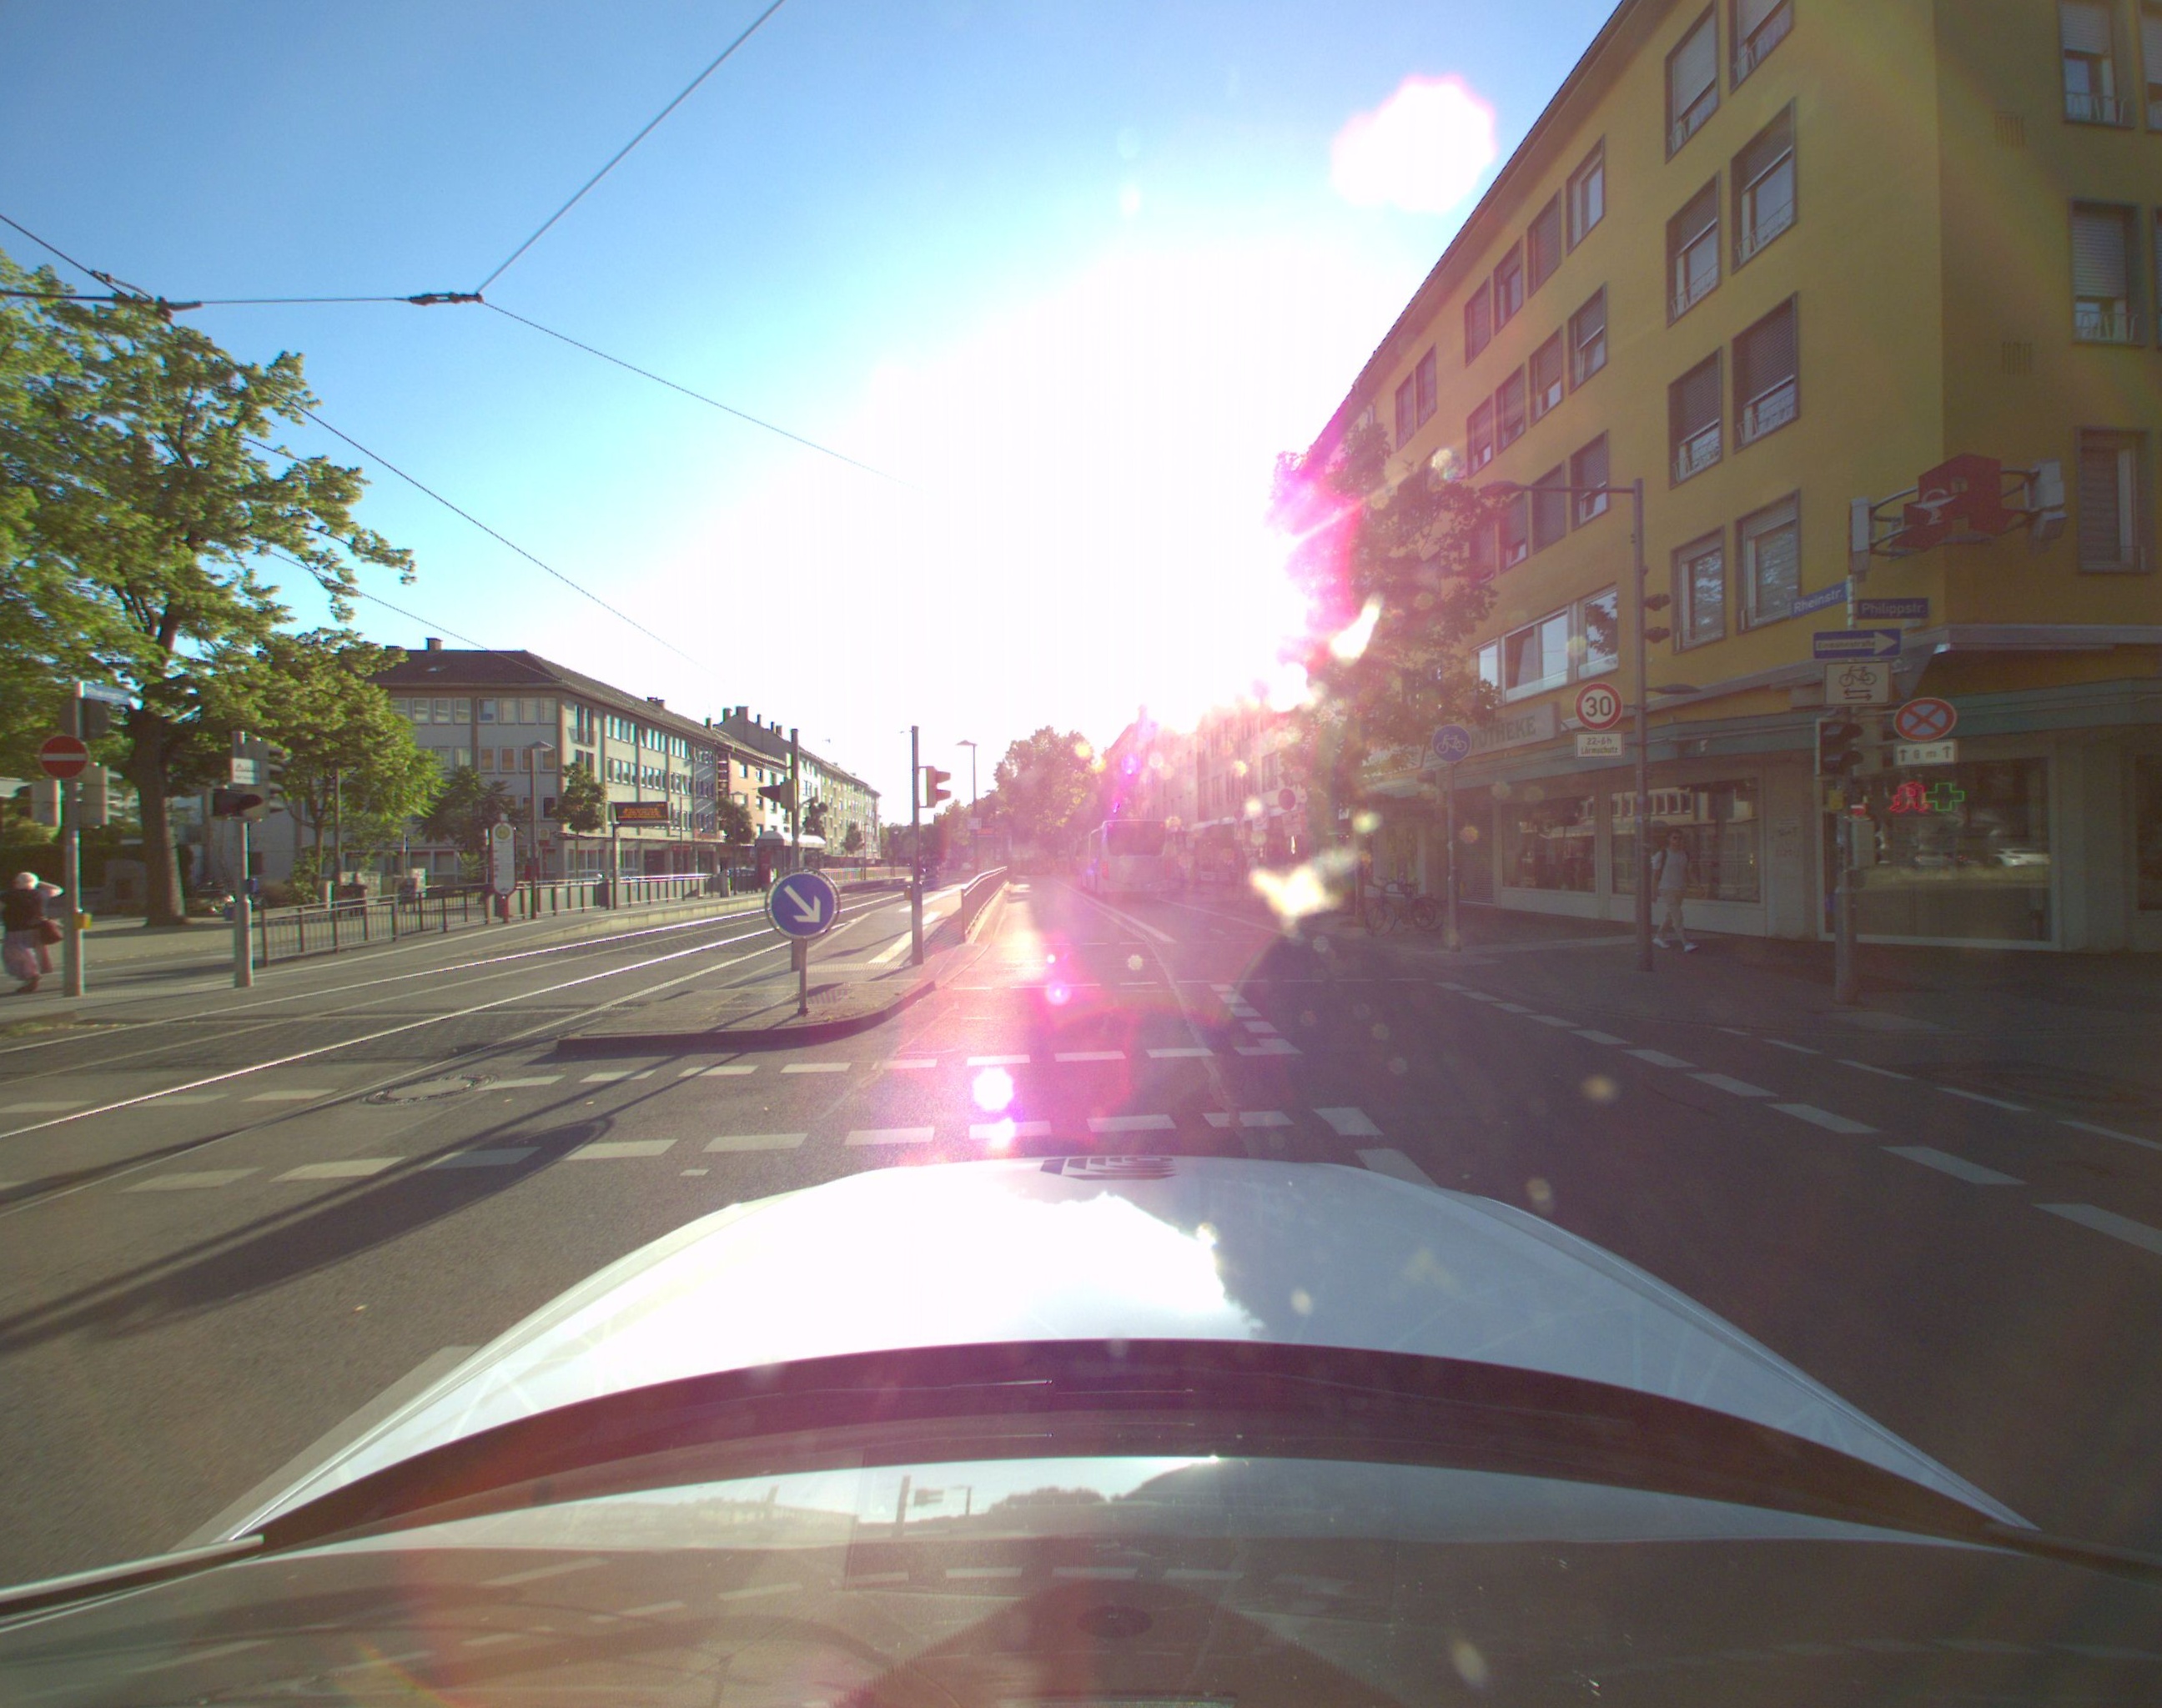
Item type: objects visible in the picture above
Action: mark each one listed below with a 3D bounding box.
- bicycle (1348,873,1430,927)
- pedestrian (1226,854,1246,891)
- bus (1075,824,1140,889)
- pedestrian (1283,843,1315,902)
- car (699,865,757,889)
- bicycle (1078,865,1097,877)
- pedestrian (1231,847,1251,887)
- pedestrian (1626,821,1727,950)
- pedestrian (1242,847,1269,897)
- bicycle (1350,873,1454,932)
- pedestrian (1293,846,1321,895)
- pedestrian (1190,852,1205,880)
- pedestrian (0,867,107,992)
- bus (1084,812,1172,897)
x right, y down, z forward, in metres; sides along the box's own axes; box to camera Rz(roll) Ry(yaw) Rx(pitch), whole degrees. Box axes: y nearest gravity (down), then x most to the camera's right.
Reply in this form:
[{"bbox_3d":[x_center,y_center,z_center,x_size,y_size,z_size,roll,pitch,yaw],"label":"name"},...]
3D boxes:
[{"bbox_3d":[6.175,0.912,16.337,1.481,1.008,0.453,-1,0,-8],"label":"bicycle"},{"bbox_3d":[6.640,0.796,34.905,0.609,1.578,0.850,-1,-1,-4],"label":"pedestrian"},{"bbox_3d":[1.235,0.144,43.666,2.691,3.118,9.058,0,-1,-3],"label":"bus"},{"bbox_3d":[6.847,0.587,25.559,0.722,1.807,0.765,-1,-1,-4],"label":"pedestrian"},{"bbox_3d":[-25.841,1.668,59.669,1.748,1.679,3.533,-1,0,34],"label":"car"},{"bbox_3d":[0.660,1.827,85.176,1.881,1.077,0.754,-5,0,-2],"label":"bicycle"},{"bbox_3d":[7.434,0.589,37.911,0.722,1.840,0.765,-1,-1,-4],"label":"pedestrian"},{"bbox_3d":[8.613,0.447,11.817,0.742,1.780,0.893,-1,-1,-4],"label":"pedestrian"},{"bbox_3d":[6.375,0.666,29.769,0.722,1.779,0.765,-1,-1,-4],"label":"pedestrian"},{"bbox_3d":[6.186,0.931,15.739,1.797,1.008,0.539,-3,0,-8],"label":"bicycle"},{"bbox_3d":[8.080,0.594,29.154,0.722,1.723,0.765,-1,-1,-4],"label":"pedestrian"},{"bbox_3d":[6.860,0.719,48.077,0.722,1.632,0.765,-1,0,-4],"label":"pedestrian"},{"bbox_3d":[-15.238,1.078,11.929,0.917,1.760,0.831,-1,-1,-3],"label":"pedestrian"},{"bbox_3d":[1.737,0.054,34.485,2.691,3.118,9.369,0,-1,-3],"label":"bus"}]
